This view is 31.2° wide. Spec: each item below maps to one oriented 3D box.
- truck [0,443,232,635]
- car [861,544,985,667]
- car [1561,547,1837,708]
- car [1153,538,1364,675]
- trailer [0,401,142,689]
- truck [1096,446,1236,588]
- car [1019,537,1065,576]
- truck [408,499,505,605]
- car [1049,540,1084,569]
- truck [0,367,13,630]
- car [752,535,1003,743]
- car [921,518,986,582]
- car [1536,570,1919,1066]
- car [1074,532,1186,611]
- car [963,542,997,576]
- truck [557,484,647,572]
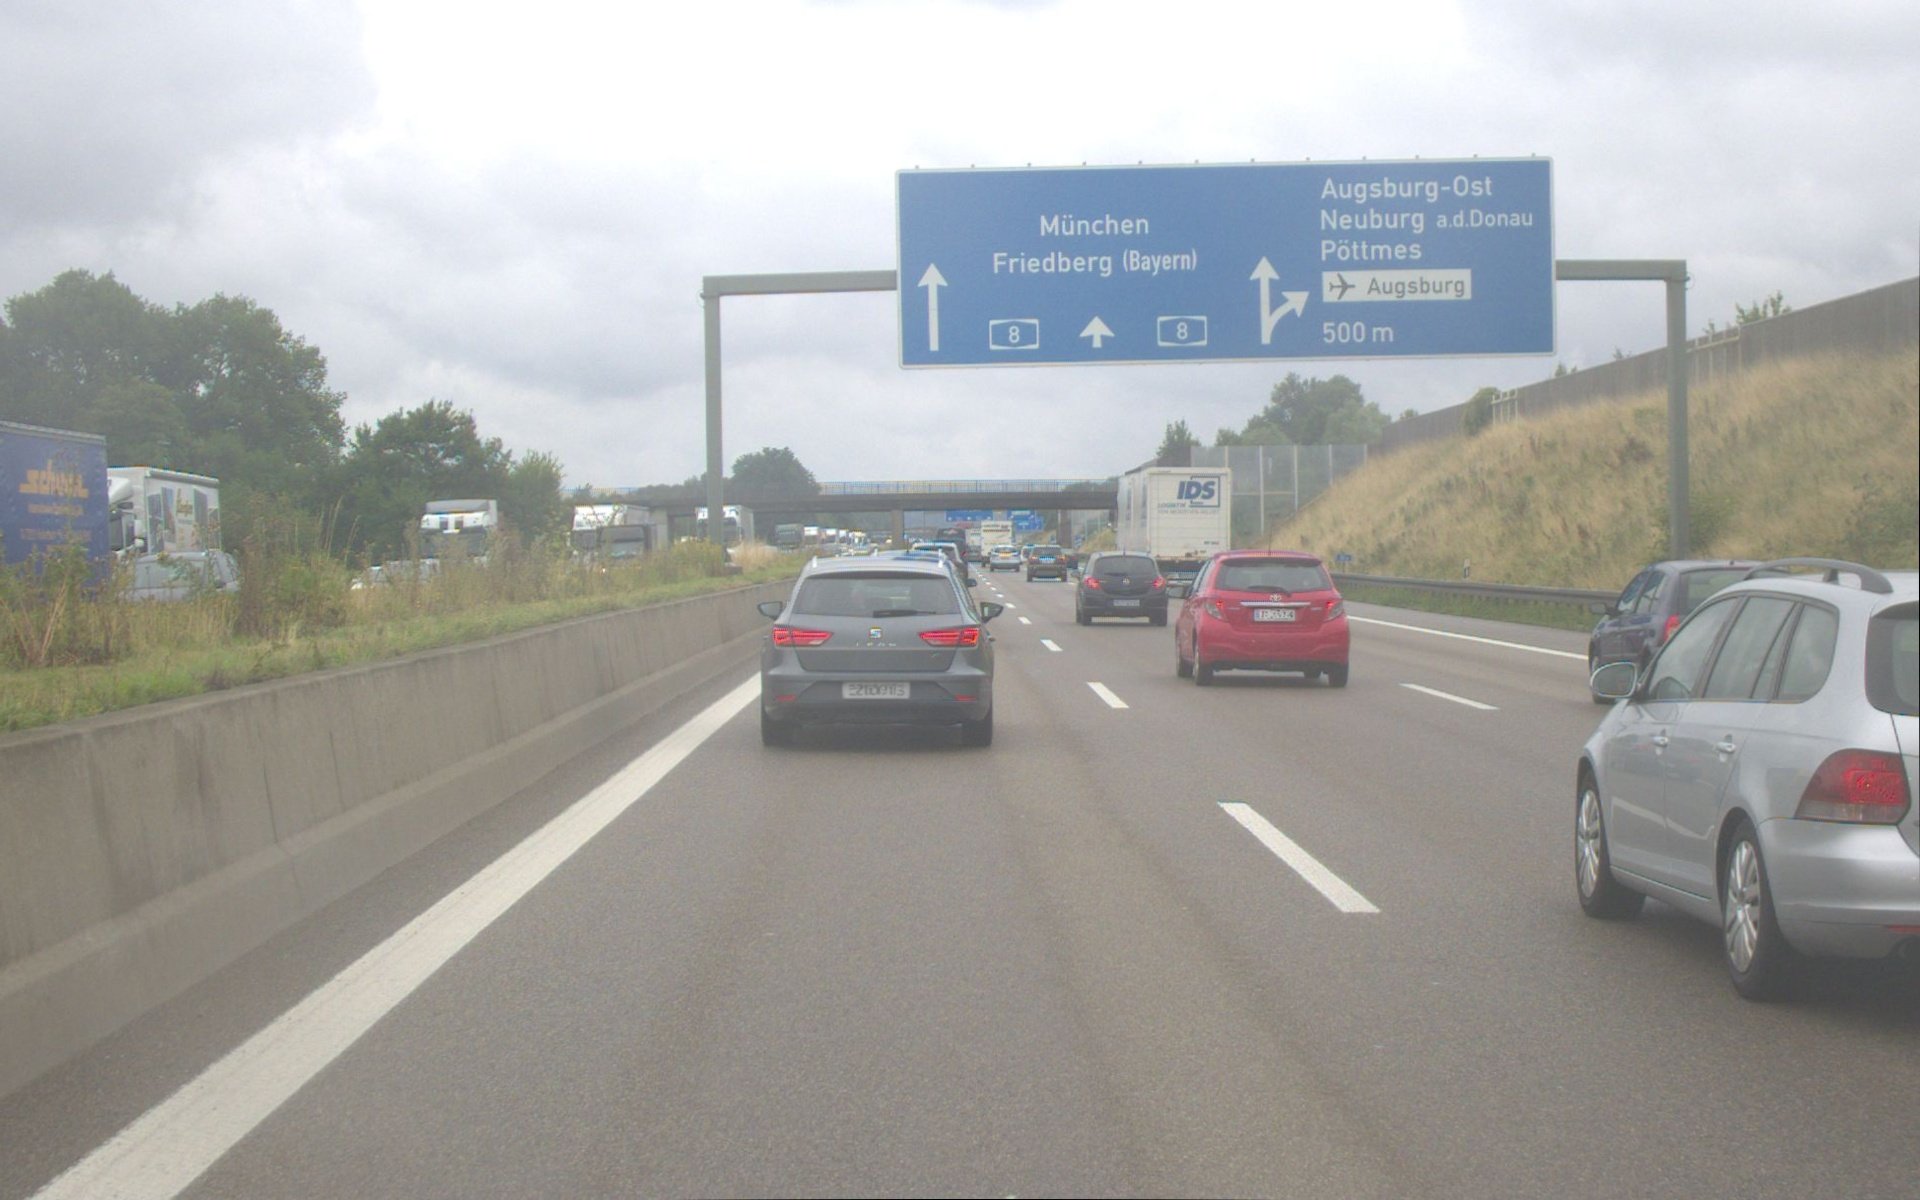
[{"bbox_3d":[-21.204,-1.505,86.693,3.512,4.468,11.789,1,1,-2],"label":"truck"},{"bbox_3d":[-0.565,0.054,51.546,1.754,1.744,4.000,1,1,-1],"label":"car"},{"bbox_3d":[6.884,0.225,32.381,1.702,1.396,3.875,1,1,-1],"label":"car"},{"bbox_3d":[3.323,0.028,39.080,1.891,1.442,4.685,0,1,-1],"label":"car"},{"bbox_3d":[-17.679,-1.026,61.774,3.387,4.752,11.682,1,1,-1],"label":"trailer"},{"bbox_3d":[6.659,-2.638,114.230,3.283,4.280,19.034,1,1,0],"label":"truck"},{"bbox_3d":[3.572,-1.909,150.627,1.845,1.681,4.000,1,1,-1],"label":"car"},{"bbox_3d":[-18.320,-1.804,125.387,2.641,3.713,5.872,1,2,0],"label":"truck"},{"bbox_3d":[6.975,-3.018,225.509,1.993,1.853,4.391,0,1,-3],"label":"car"},{"bbox_3d":[-17.549,-1.643,51.976,3.412,4.349,10.991,1,1,0],"label":"truck"},{"bbox_3d":[-0.647,0.256,26.542,1.768,1.462,4.000,1,1,-2],"label":"car"},{"bbox_3d":[-0.206,-1.465,100.336,1.704,1.790,3.855,-2,1,-2],"label":"car"},{"bbox_3d":[3.387,0.630,12.509,1.742,1.420,4.517,-1,1,-1],"label":"car"},{"bbox_3d":[3.337,-0.593,68.247,1.921,1.516,4.622,0,1,-1],"label":"car"},{"bbox_3d":[1.178,-2.481,208.219,1.993,2.007,4.242,1,1,0],"label":"car"},{"bbox_3d":[-17.834,-3.572,171.826,3.615,4.260,7.592,1,1,0],"label":"truck"}]
